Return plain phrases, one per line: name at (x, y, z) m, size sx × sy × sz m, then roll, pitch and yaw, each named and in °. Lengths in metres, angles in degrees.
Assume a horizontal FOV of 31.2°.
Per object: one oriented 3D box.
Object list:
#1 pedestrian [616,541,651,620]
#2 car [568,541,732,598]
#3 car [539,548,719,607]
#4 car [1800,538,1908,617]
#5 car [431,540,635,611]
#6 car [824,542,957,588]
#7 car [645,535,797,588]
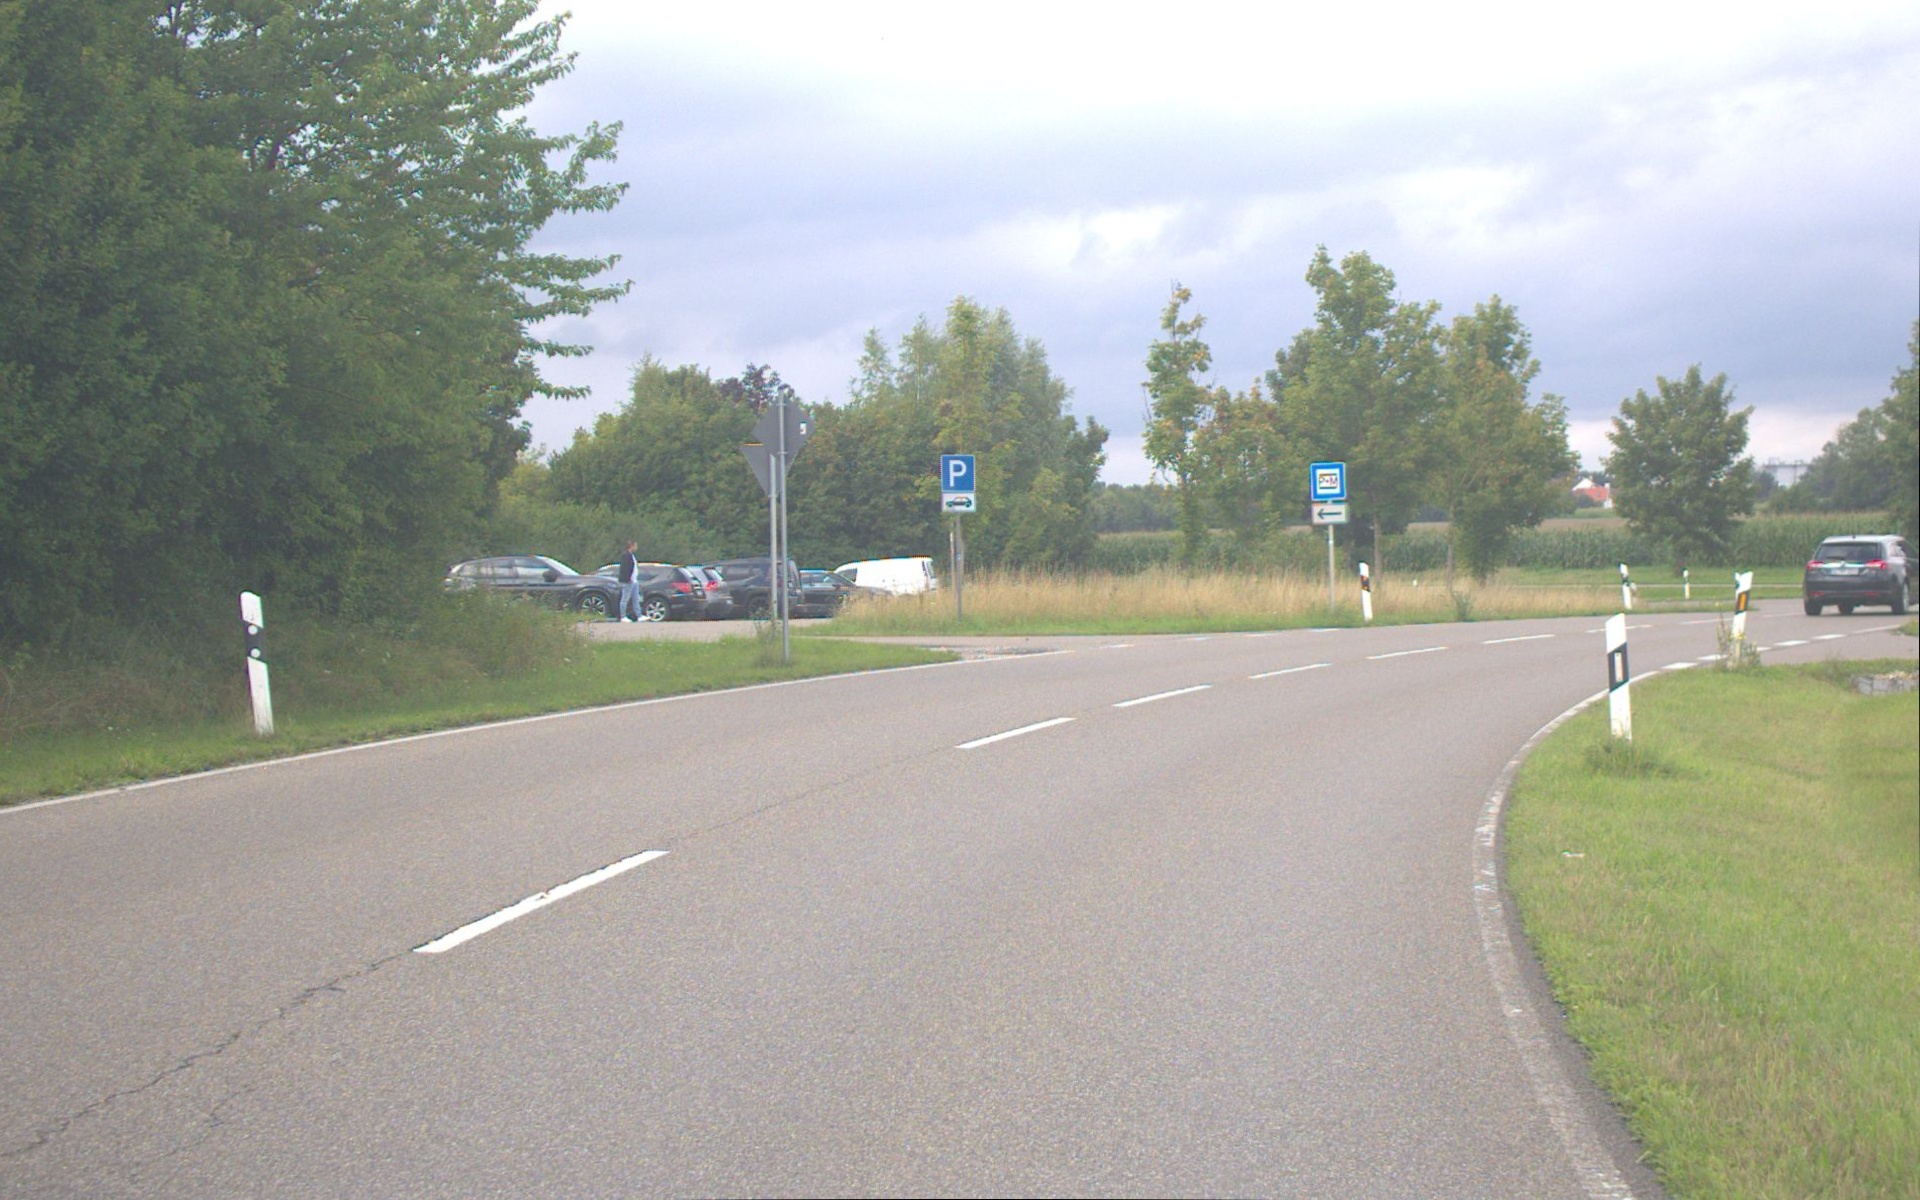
pedestrian at (-6.946, -0.419, 73.186) m, size 0.515 × 1.661 × 0.660 m, roll 0°, pitch 1°, yaw 15°
car at (-7.789, -0.772, 86.596) m, size 3.987 × 1.375 × 1.476 m, roll -1°, pitch 1°, yaw 0°
car at (-8.061, -0.562, 83.744) m, size 3.989 × 1.375 × 1.823 m, roll 0°, pitch 1°, yaw 12°
car at (16.579, -0.438, 63.655) m, size 1.842 × 1.412 × 3.997 m, roll 0°, pitch 1°, yaw 16°
car at (-9.662, -0.562, 77.877) m, size 4.242 × 1.560 × 1.757 m, roll -1°, pitch 1°, yaw 9°
car at (-2.149, -1.083, 106.789) m, size 3.988 × 1.375 × 1.476 m, roll -1°, pitch 1°, yaw 6°
car at (-6.432, -1.049, 92.861) m, size 3.987 × 1.375 × 1.476 m, roll -1°, pitch 1°, yaw 1°
